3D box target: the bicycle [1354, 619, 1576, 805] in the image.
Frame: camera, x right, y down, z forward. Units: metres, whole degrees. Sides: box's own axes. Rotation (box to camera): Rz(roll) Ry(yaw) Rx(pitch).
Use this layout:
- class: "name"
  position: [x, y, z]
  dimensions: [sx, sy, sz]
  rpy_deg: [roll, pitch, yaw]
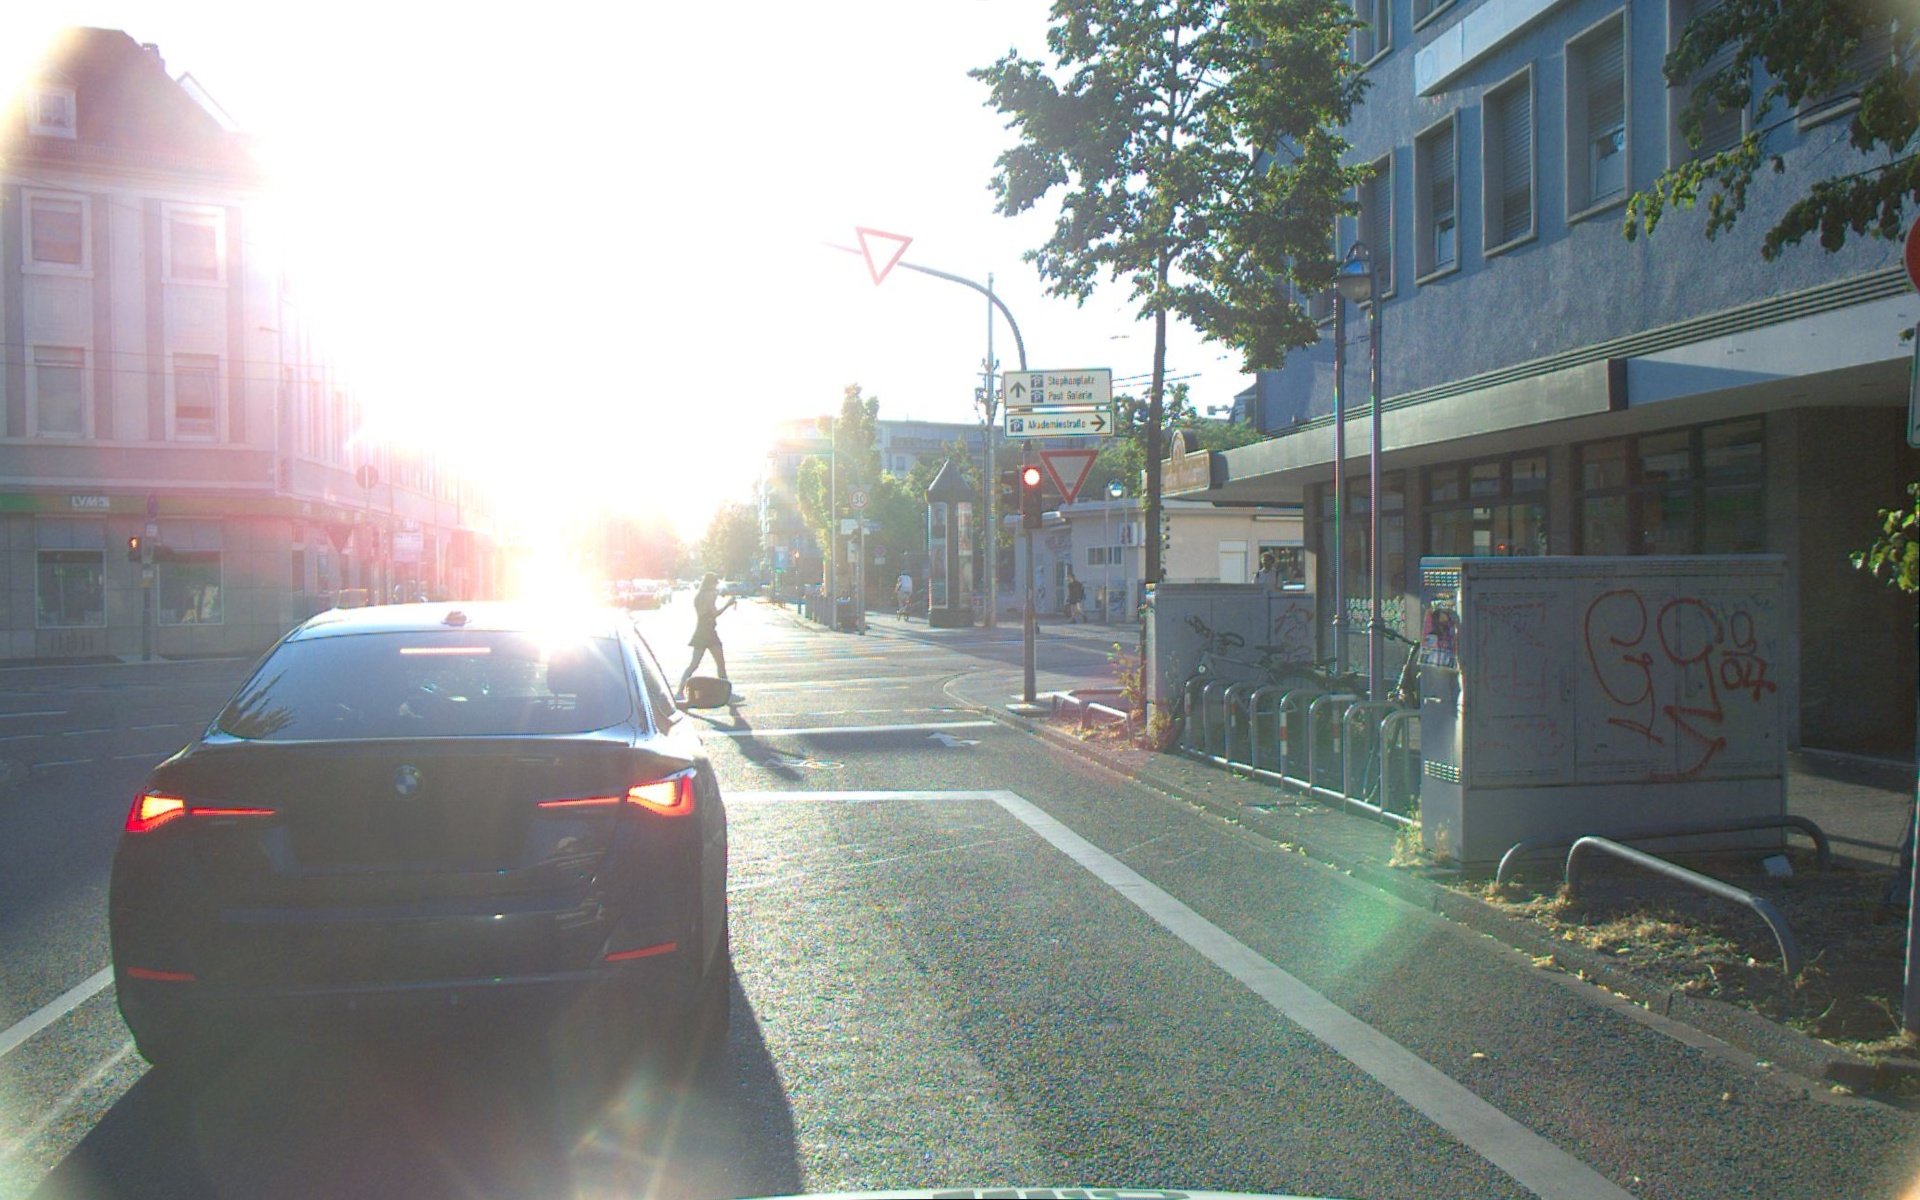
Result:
- class: "bicycle"
  position: [3.468, 0.766, 11.380]
  dimensions: [1.413, 1.241, 0.383]
  rpy_deg: [1, 0, -8]

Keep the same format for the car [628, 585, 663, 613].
- class: "car"
  position: [-17.931, -0.080, 94.365]
  dimensions: [1.784, 1.545, 3.992]
  rpy_deg: [-1, 1, -9]

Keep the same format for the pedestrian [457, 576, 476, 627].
- class: "pedestrian"
  position: [-18.799, 0.054, 62.966]
  dimensions: [0.605, 1.909, 0.676]
  rpy_deg: [1, 0, -13]

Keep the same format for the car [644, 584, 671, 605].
- class: "car"
  position: [-22.930, -0.403, 125.449]
  dimensions: [1.784, 1.545, 3.992]
  rpy_deg: [-1, 1, -9]

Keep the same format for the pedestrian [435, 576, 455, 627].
- class: "pedestrian"
  position: [-19.249, 0.051, 61.823]
  dimensions: [0.631, 1.909, 0.630]
  rpy_deg: [1, 0, -9]

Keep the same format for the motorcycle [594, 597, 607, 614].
- class: "motorcycle"
  position: [-20.412, 0.293, 93.825]
  dimensions: [0.564, 0.931, 2.196]
  rpy_deg: [1, 0, -8]

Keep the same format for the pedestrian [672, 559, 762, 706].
- class: "pedestrian"
  position: [-3.216, 0.413, 21.858]
  dimensions: [0.990, 1.893, 0.634]
  rpy_deg: [-2, 1, -29]

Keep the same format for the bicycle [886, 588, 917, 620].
- class: "bicycle"
  position: [-2.214, 0.153, 62.218]
  dimensions: [0.542, 1.179, 2.132]
  rpy_deg: [1, 0, -20]

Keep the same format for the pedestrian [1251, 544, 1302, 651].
- class: "pedestrian"
  position: [5.612, -0.047, 29.397]
  dimensions: [0.818, 1.874, 0.679]
  rpy_deg: [-1, 0, 7]

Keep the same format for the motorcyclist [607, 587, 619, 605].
- class: "motorcyclist"
  position: [-19.583, -0.232, 93.345]
  dimensions: [0.564, 1.013, 0.701]
  rpy_deg: [1, 0, -9]

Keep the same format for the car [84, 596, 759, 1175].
- class: "car"
  position: [-1.743, 0.725, 6.449]
  dimensions: [1.705, 1.453, 4.214]
  rpy_deg: [0, 0, -10]

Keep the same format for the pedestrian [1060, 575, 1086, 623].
- class: "pedestrian"
  position: [3.721, -0.042, 54.432]
  dimensions: [0.720, 1.555, 0.471]
  rpy_deg: [1, 0, -13]

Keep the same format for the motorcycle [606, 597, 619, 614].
- class: "motorcycle"
  position: [-19.609, 0.308, 93.444]
  dimensions: [0.564, 0.931, 2.196]
  rpy_deg: [1, 0, -8]

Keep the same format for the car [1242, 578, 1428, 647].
- class: "car"
  position: [8.806, 0.245, 38.765]
  dimensions: [4.368, 1.499, 1.796]
  rpy_deg: [-1, 1, -34]

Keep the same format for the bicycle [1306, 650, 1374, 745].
- class: "bicycle"
  position: [3.534, 0.894, 15.417]
  dimensions: [0.244, 0.810, 1.114]
  rpy_deg: [1, 0, -7]

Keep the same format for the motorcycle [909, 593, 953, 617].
- class: "motorcycle"
  position: [-1.190, 0.211, 67.840]
  dimensions: [1.644, 0.955, 0.851]
  rpy_deg: [-1, 1, -20]

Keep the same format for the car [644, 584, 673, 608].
- class: "car"
  position: [-20.503, -0.287, 112.646]
  dimensions: [1.784, 1.545, 3.992]
  rpy_deg: [-1, 1, -9]

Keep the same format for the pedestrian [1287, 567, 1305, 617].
- class: "pedestrian"
  position: [11.898, -0.293, 58.544]
  dimensions: [0.438, 1.765, 0.429]
  rpy_deg: [1, 0, -34]

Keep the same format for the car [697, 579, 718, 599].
- class: "car"
  position: [-24.707, -1.101, 161.797]
  dimensions: [1.737, 1.881, 3.997]
  rpy_deg: [-1, 1, -4]

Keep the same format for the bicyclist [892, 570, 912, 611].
- class: "bicyclist"
  position: [-2.184, -0.362, 62.144]
  dimensions: [0.542, 1.507, 0.718]
  rpy_deg: [1, 0, -20]

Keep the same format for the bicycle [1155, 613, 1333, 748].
- class: "bicycle"
  position: [2.602, 0.727, 15.184]
  dimensions: [1.582, 1.191, 0.318]
  rpy_deg: [-1, 0, -7]

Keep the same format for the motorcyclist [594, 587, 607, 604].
- class: "motorcyclist"
  position: [-20.404, -0.248, 93.846]
  dimensions: [0.564, 0.931, 2.196]
  rpy_deg: [1, 0, -8]
